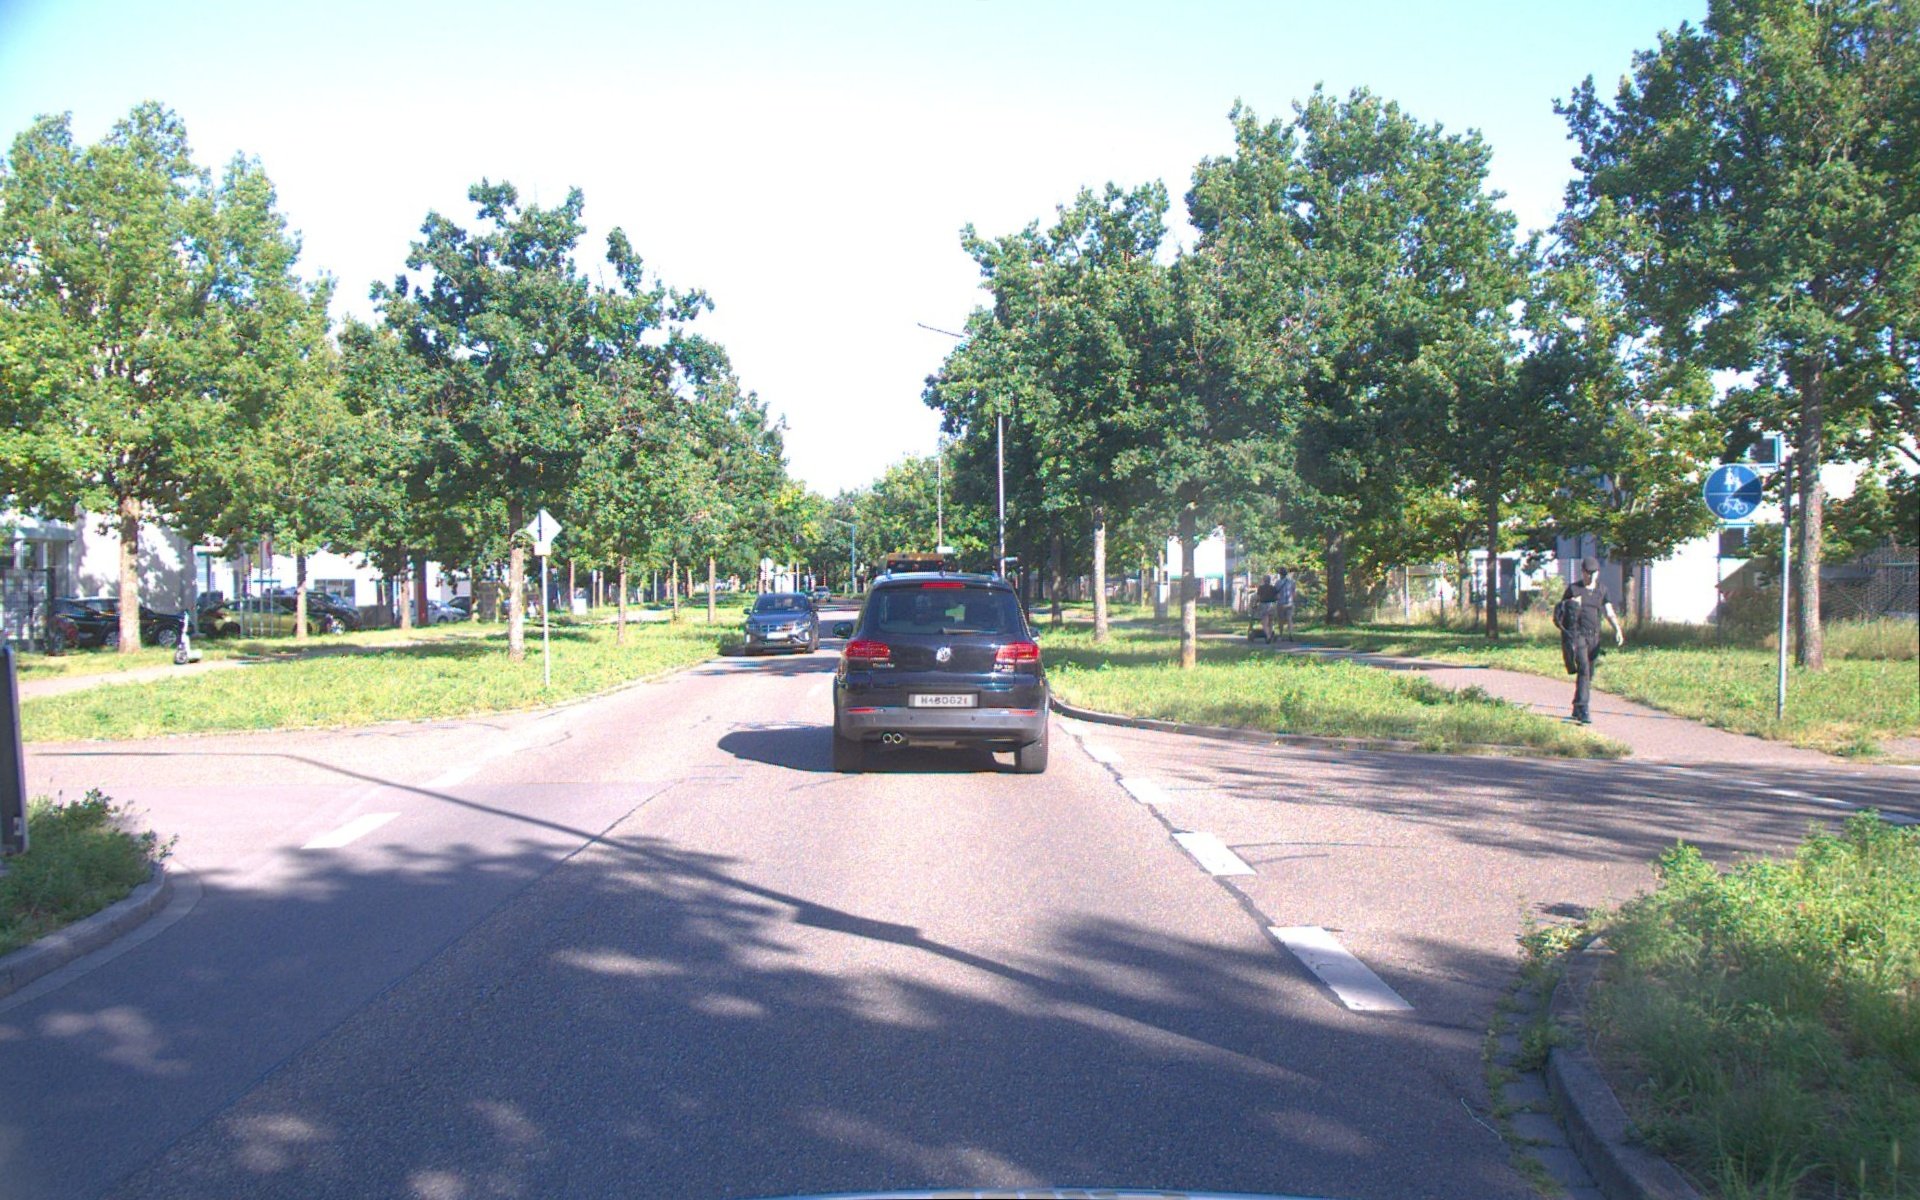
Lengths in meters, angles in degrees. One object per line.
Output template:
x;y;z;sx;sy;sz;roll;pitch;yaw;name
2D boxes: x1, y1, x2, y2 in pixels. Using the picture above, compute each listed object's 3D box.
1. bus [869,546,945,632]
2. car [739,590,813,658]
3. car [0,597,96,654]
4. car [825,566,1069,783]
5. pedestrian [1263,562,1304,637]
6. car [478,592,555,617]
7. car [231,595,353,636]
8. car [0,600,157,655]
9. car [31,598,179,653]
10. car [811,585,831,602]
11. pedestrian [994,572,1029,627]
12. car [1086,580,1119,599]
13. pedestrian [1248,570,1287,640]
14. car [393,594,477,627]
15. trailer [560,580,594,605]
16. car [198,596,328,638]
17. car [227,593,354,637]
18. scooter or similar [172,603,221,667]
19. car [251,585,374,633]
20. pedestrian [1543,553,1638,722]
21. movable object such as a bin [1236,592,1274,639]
-2.486;-0.506;73.769;2.710;3.517;11.199;-1;1;-5;bus
-4.762;0.581;42.974;1.770;1.563;4.490;-2;1;-6;car
-25.634;0.684;44.402;1.768;1.474;3.979;-1;1;40;car
-0.182;0.554;15.159;1.897;1.685;4.425;1;1;-2;car
7.899;-0.016;40.393;0.711;1.785;0.867;-3;0;-2;pedestrian
-28.590;0.302;106.758;4.407;1.505;1.942;-1;0;2;car
-26.816;0.595;66.473;4.134;1.517;1.970;-1;1;-42;car
-25.737;0.765;48.043;1.771;1.474;3.972;-1;1;45;car
-26.311;0.750;50.945;3.948;1.537;1.782;-1;2;-32;car
-12.901;-0.652;154.049;1.709;1.490;4.424;-2;1;-4;car
1.607;-0.016;51.963;0.999;1.680;1.099;-1;0;-3;pedestrian
13.263;-0.993;154.147;2.143;1.774;4.634;-1;1;-7;car
7.312;0.111;39.369;0.711;1.631;0.867;-1;0;-3;pedestrian
-27.315;0.545;86.044;3.662;1.646;1.965;-1;0;12;car
-31.255;-0.608;135.035;2.061;1.948;3.738;-1;1;-4;trailer
-25.381;0.609;60.285;3.923;1.426;1.968;-1;1;-44;car
-25.653;0.545;63.480;4.138;1.565;1.866;-1;1;-44;car
-16.247;0.732;35.219;0.387;1.301;1.441;-1;0;-1;scooter or similar
-29.231;0.366;74.770;4.822;2.049;1.968;-1;1;-44;car
7.125;0.401;18.722;0.711;1.843;0.867;-1;3;-3;pedestrian
7.172;0.371;40.240;0.711;1.100;0.867;-3;0;-3;movable object such as a bin
